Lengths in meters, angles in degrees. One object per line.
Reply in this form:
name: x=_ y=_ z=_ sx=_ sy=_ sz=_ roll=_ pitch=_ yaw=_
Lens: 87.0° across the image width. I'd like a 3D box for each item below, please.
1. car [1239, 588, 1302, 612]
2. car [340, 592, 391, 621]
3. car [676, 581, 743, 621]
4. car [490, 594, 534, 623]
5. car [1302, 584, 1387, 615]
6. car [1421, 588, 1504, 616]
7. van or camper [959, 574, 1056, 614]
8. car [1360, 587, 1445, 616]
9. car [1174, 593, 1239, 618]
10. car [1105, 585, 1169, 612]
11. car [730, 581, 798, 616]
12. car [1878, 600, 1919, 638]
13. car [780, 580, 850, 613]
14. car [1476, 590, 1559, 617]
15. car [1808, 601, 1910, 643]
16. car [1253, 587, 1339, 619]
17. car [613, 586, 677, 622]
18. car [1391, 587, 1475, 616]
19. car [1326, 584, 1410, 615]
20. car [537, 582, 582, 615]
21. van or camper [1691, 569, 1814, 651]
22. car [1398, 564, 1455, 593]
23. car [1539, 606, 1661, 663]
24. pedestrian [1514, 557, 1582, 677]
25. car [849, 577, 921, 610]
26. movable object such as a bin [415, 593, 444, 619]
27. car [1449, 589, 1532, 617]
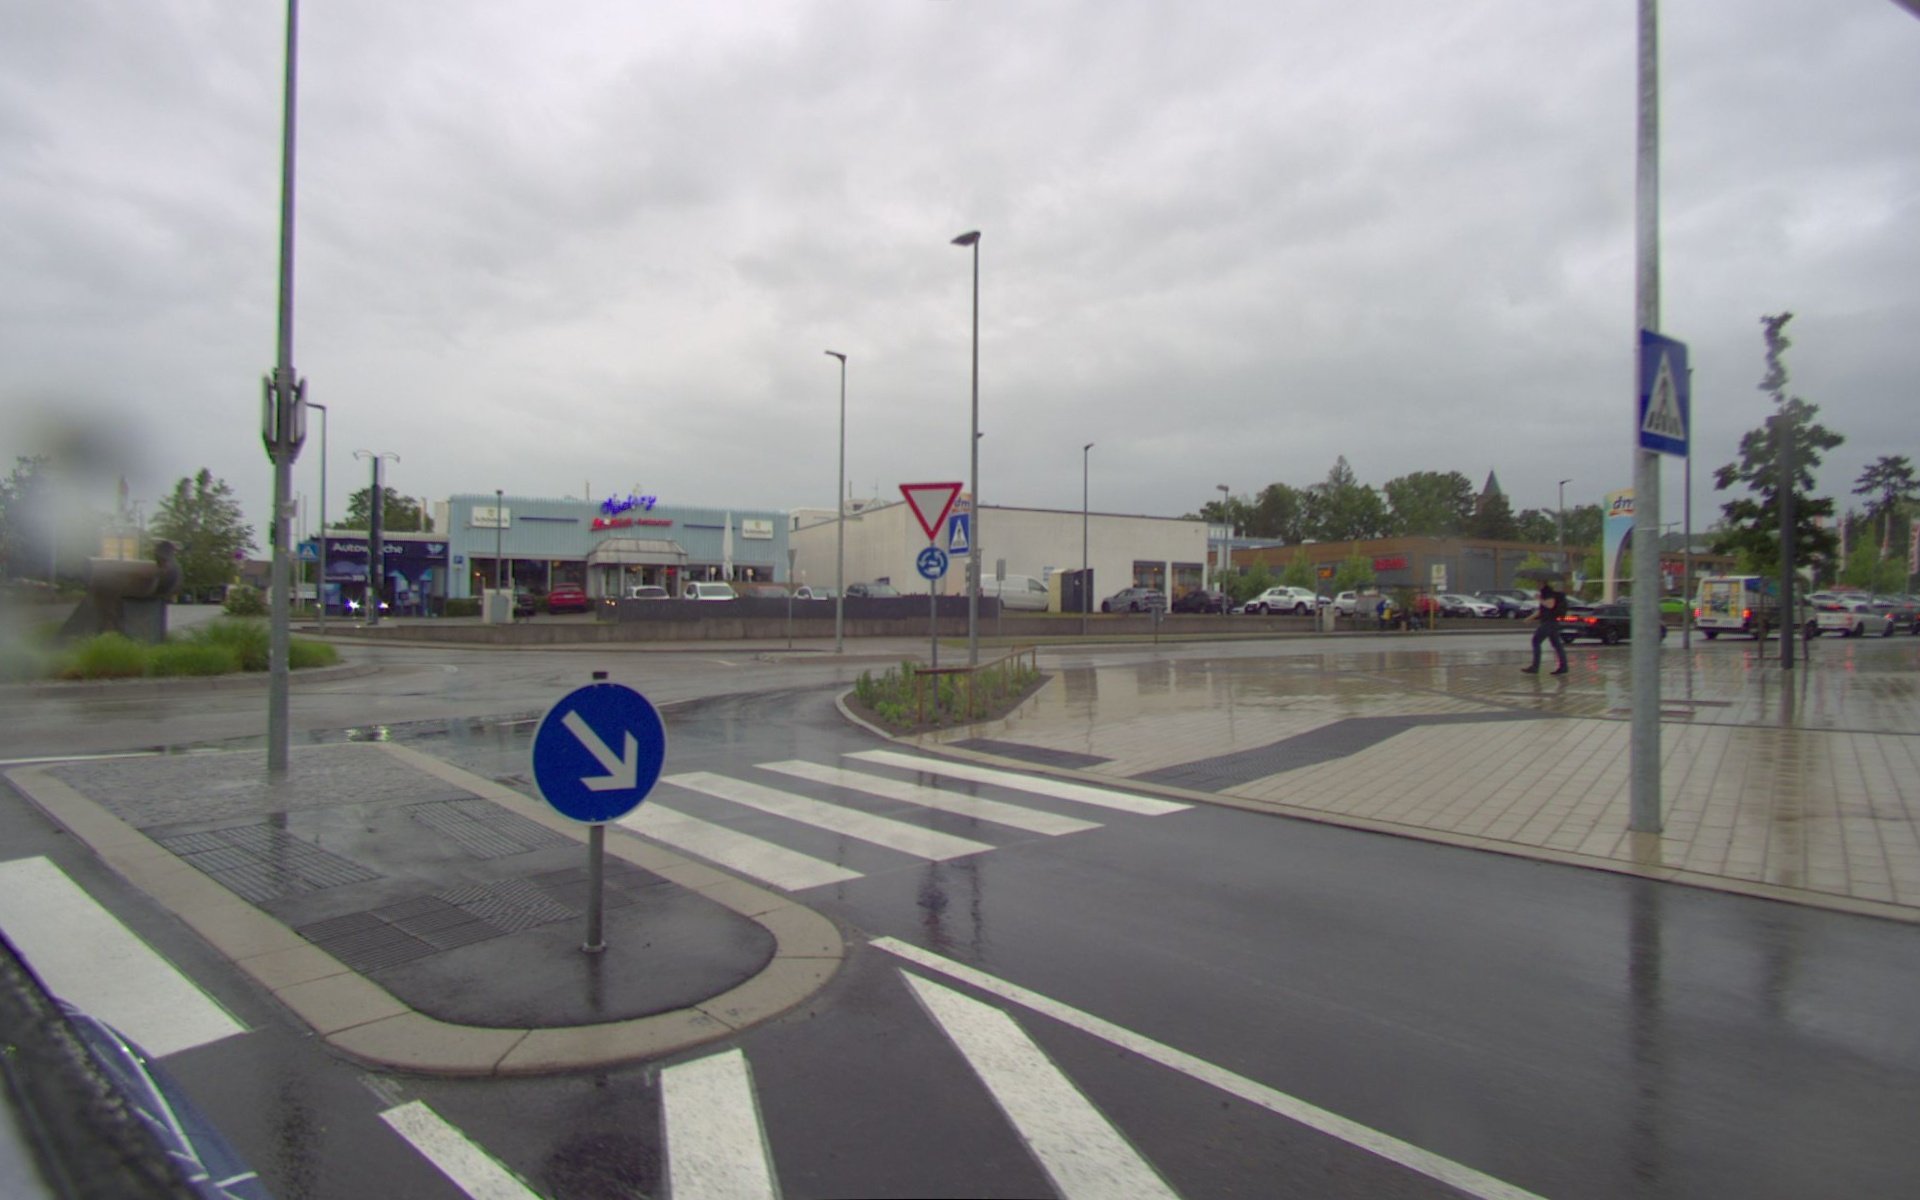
car: x=20.839 y=0.002 z=67.872 sx=3.931 sy=1.564 sz=1.800 roll=0 pitch=-1 yaw=-30
car: x=-33.144 y=0.362 z=56.498 sx=1.888 sy=1.541 sz=4.013 roll=-2 pitch=0 yaw=-22
car: x=-10.419 y=0.061 z=41.879 sx=1.763 sy=1.564 sz=4.013 roll=0 pitch=-1 yaw=-28
car: x=-22.033 y=0.414 z=49.669 sx=1.855 sy=1.305 sz=4.013 roll=-3 pitch=1 yaw=-25
car: x=20.210 y=0.017 z=53.310 sx=1.763 sy=1.564 sz=4.013 roll=0 pitch=-1 yaw=-28
car: x=28.807 y=0.120 z=58.135 sx=1.763 sy=1.564 sz=4.013 roll=0 pitch=-1 yaw=-28
van or camper: x=2.339 y=-0.303 z=49.556 sx=4.306 sy=1.774 sz=1.894 roll=-3 pitch=1 yaw=-24
car: x=24.323 y=0.109 z=55.750 sx=1.763 sy=1.564 sz=4.013 roll=0 pitch=-1 yaw=-28
car: x=15.462 y=0.348 z=63.721 sx=1.763 sy=1.564 sz=4.013 roll=0 pitch=-1 yaw=-27
car: x=10.691 y=-0.058 z=61.331 sx=1.763 sy=1.564 sz=4.013 roll=0 pitch=-1 yaw=-27
car: x=-8.320 y=-0.063 z=42.626 sx=1.855 sy=1.305 sz=4.013 roll=-3 pitch=1 yaw=-25
car: x=45.036 y=0.861 z=47.170 sx=3.931 sy=1.630 sz=2.007 roll=-1 pitch=0 yaw=-26
car: x=-6.270 y=-0.150 z=43.547 sx=1.855 sy=1.305 sz=4.013 roll=-3 pitch=1 yaw=-25
car: x=33.246 y=0.224 z=60.434 sx=1.763 sy=1.564 sz=4.013 roll=0 pitch=-1 yaw=-28
car: x=39.417 y=0.922 z=44.365 sx=3.931 sy=1.719 sz=2.007 roll=-1 pitch=0 yaw=-26
car: x=17.252 y=0.154 z=52.129 sx=1.820 sy=1.564 sz=4.013 roll=0 pitch=-1 yaw=-28
car: x=-12.565 y=0.155 z=40.182 sx=1.855 sy=1.305 sz=4.013 roll=-3 pitch=1 yaw=-25
car: x=26.489 y=0.082 z=56.756 sx=1.763 sy=1.564 sz=4.013 roll=0 pitch=-1 yaw=-28
car: x=21.868 y=-0.006 z=54.366 sx=1.763 sy=1.564 sz=4.013 roll=0 pitch=-1 yaw=-28
car: x=-20.264 y=-0.062 z=51.146 sx=1.855 sy=1.497 sz=4.013 roll=-3 pitch=1 yaw=-25
van or camper: x=32.252 y=0.361 z=41.160 sx=5.014 sy=3.111 sz=2.006 roll=-2 pitch=0 yaw=-28
car: x=35.165 y=-1.643 z=76.208 sx=3.932 sy=2.028 sz=2.006 roll=-3 pitch=3 yaw=-30
car: x=23.136 y=1.193 z=36.586 sx=3.931 sy=1.741 sz=2.006 roll=-3 pitch=1 yaw=-28
pedestrian: x=10.350 y=0.292 z=17.809 sx=0.930 sy=2.029 sz=0.882 roll=-1 pitch=-1 yaw=37
car: x=-3.363 y=-0.286 z=44.786 sx=1.855 sy=1.305 sz=4.013 roll=-3 pitch=1 yaw=-25
movable object such as a bin: x=-27.625 y=0.314 z=52.744 sx=1.194 sy=1.305 sz=1.483 roll=-3 pitch=1 yaw=-25
car: x=31.015 y=0.203 z=59.304 sx=1.763 sy=1.564 sz=4.013 roll=0 pitch=-1 yaw=-28
